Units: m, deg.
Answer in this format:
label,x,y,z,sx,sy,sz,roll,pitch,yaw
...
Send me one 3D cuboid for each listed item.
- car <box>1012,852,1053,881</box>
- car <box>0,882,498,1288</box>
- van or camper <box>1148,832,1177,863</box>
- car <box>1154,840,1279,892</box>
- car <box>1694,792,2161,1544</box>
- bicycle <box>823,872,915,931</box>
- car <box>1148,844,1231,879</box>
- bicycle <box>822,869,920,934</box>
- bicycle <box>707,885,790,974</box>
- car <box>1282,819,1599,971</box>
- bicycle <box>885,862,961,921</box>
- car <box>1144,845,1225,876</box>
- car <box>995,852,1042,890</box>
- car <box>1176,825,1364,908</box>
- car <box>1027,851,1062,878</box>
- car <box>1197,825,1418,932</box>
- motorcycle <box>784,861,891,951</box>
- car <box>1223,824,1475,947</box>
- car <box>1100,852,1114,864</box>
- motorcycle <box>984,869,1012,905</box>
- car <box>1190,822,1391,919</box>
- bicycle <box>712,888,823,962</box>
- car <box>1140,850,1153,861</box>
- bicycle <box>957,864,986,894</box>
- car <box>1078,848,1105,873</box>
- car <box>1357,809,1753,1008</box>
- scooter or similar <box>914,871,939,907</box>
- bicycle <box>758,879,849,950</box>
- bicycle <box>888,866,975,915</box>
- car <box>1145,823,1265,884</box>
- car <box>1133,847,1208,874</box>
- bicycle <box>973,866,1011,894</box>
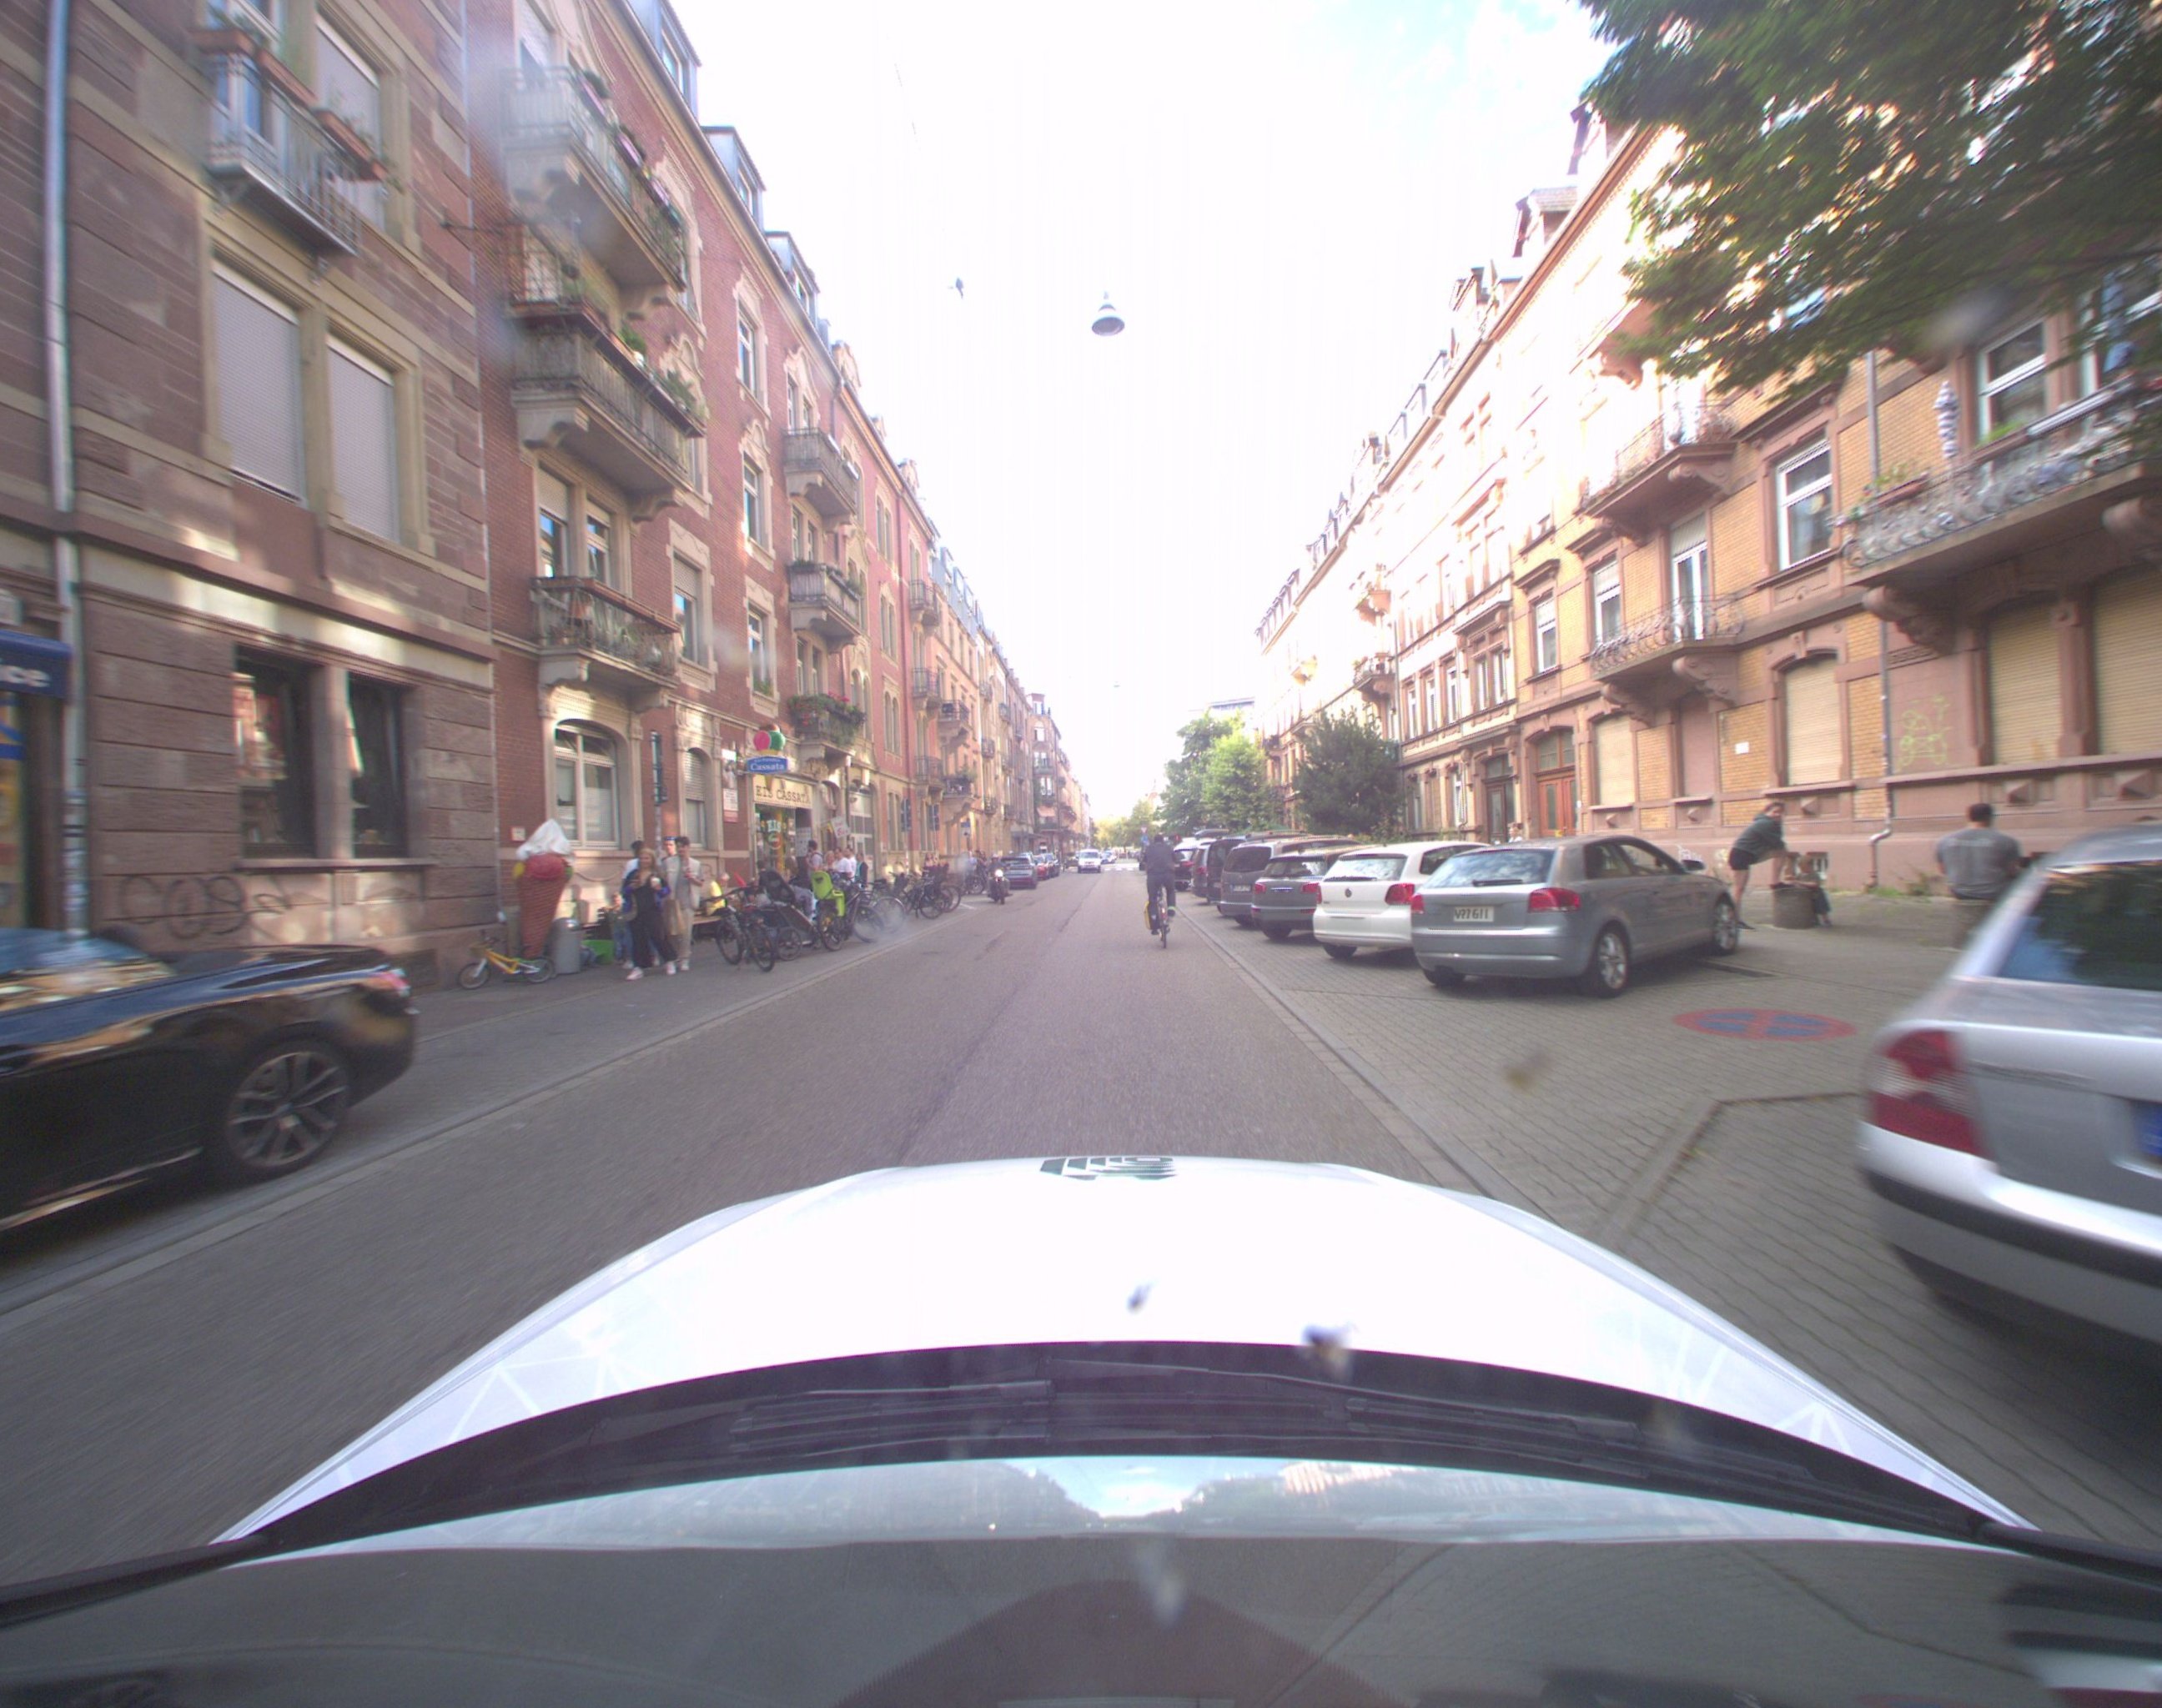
label,x,y,z,sx,sy,sz,roll,pitch,yaw
car,-2.835,0.712,48.727,1.986,1.545,4.428,-2,0,2
car,-4.747,0.883,2.699,1.805,1.351,5.117,-2,0,2
van or camper,8.534,-0.653,85.629,2.523,3.037,4.459,-3,0,0
car,5.128,0.400,30.671,4.474,1.732,1.980,-2,0,-33
car,4.214,0.523,2.685,4.626,1.451,1.776,-4,0,-30
bicycle,-4.381,0.963,16.869,1.745,1.120,0.549,-1,0,-34
car,6.014,0.391,44.974,4.491,1.476,1.868,-6,2,-37
bicycle,-4.177,0.923,16.274,1.798,1.200,0.585,-1,0,-34
bicycle,-4.566,0.993,11.131,1.561,1.117,0.376,-1,0,41
car,4.822,0.456,10.807,4.013,1.450,1.719,-5,-1,-30
bicycle,-3.752,0.873,19.376,1.683,1.322,0.522,-1,0,-34
car,6.111,0.386,47.877,4.486,1.464,1.860,-5,1,-32
car,-2.783,0.713,37.317,1.820,1.578,5.261,-1,0,-1
car,5.057,0.305,22.205,4.620,1.784,1.811,-5,2,1
car,-2.385,0.665,54.190,1.783,1.628,4.850,-3,0,3
car,4.510,0.418,16.126,4.011,1.741,1.823,-4,0,-29
motorcycle,-4.053,0.822,13.751,0.701,1.384,2.033,-1,0,17
car,4.510,0.439,13.503,4.018,1.548,1.849,-5,1,-35
car,3.311,0.485,103.750,1.744,1.436,4.212,-2,-1,1
motorcycle,-2.604,1.018,25.759,0.792,0.995,2.496,-1,0,-4
car,4.860,0.335,18.722,4.417,1.822,1.738,-4,0,-30
bicycle,-4.609,1.023,11.950,1.666,1.030,0.411,-1,0,22
car,9.052,0.239,112.555,1.638,1.324,3.580,-5,0,4
bicycle,-4.211,0.938,31.330,0.490,1.095,1.910,0,0,12
car,0.862,0.503,64.905,1.909,1.828,4.442,-1,0,3
car,4.962,0.424,8.390,4.016,1.461,1.867,-4,-1,-34
scooter or similar,-4.733,1.050,24.970,0.604,1.055,0.921,-1,0,-3
bicycle,-4.721,1.003,13.992,0.574,1.090,1.745,-1,0,15
bicycle,-3.921,0.938,21.541,0.798,1.159,2.284,-1,0,40
car,5.577,-0.056,36.451,5.177,2.405,1.899,-3,0,-31
car,6.211,0.408,56.306,4.778,1.456,2.039,-5,1,-26
bicycle,-3.441,0.988,31.623,0.477,1.059,1.916,0,0,26
